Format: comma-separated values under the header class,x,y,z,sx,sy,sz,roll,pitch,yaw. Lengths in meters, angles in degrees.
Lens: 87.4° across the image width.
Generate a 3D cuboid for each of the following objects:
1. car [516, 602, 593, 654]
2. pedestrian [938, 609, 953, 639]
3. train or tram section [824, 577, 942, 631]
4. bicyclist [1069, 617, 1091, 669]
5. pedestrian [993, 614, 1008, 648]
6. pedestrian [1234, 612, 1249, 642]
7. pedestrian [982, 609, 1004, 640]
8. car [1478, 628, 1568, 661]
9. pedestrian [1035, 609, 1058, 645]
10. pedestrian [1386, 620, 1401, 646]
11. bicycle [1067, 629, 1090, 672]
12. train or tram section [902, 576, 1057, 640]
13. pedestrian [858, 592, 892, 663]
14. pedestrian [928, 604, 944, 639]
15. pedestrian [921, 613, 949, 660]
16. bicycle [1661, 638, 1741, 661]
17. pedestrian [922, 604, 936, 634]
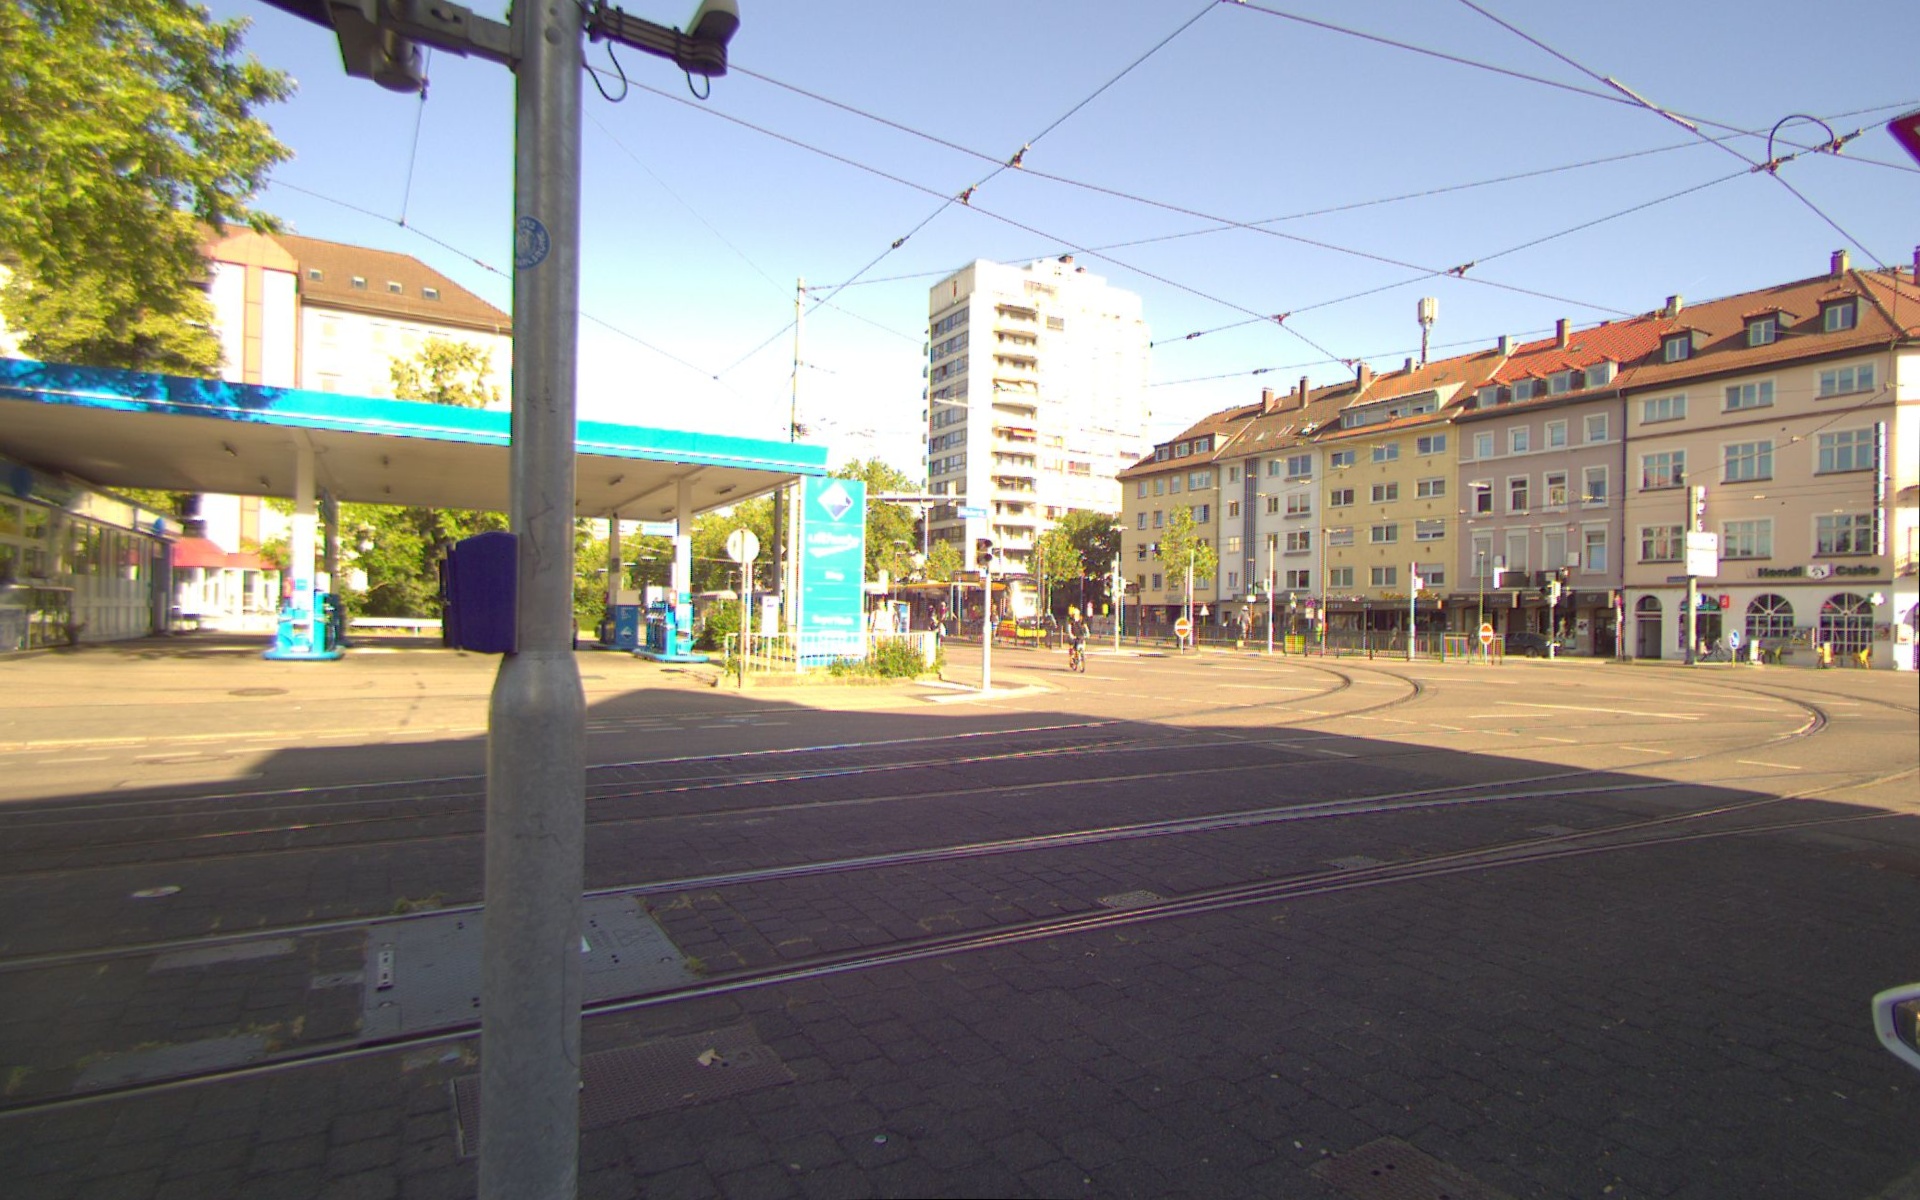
class,x,y,z,sx,sy,sz,roll,pitch,yaw
car,-12.168,0.809,30.034,1.764,1.411,3.455,2,0,-28
pedestrian,-0.789,1.292,54.965,0.580,1.613,0.520,2,0,-31
train or tram section,-5.485,0.207,67.990,2.751,3.273,12.286,2,0,-31
bicyclist,3.334,1.191,27.988,0.549,1.384,0.803,2,0,5
pedestrian,2.062,1.560,51.013,0.575,1.686,0.525,2,0,15
pedestrian,15.965,1.527,57.027,0.570,1.649,0.522,2,0,-31
pedestrian,1.635,1.195,49.587,0.814,1.532,0.699,1,-1,-33
car,30.855,2.423,55.135,1.970,1.692,3.981,1,-1,-21
pedestrian,3.901,1.218,45.258,0.809,1.608,0.703,1,-1,-16
pedestrian,28.513,2.187,66.058,0.693,1.656,0.629,2,0,-33
bicycle,3.280,1.376,27.876,0.563,1.084,1.795,2,0,5
train or tram section,0.750,0.365,57.523,2.751,3.273,12.286,2,0,-31
pedestrian,-2.329,0.754,27.646,0.778,1.893,0.674,2,0,6
pedestrian,-1.340,1.190,56.202,0.666,1.913,0.520,2,0,-31
pedestrian,-0.891,1.293,35.734,0.675,1.656,0.694,2,0,-35
bicycle,37.500,2.497,50.890,0.989,0.993,3.115,2,0,-29
pedestrian,-1.737,1.068,56.135,0.580,1.613,0.520,2,0,-31
